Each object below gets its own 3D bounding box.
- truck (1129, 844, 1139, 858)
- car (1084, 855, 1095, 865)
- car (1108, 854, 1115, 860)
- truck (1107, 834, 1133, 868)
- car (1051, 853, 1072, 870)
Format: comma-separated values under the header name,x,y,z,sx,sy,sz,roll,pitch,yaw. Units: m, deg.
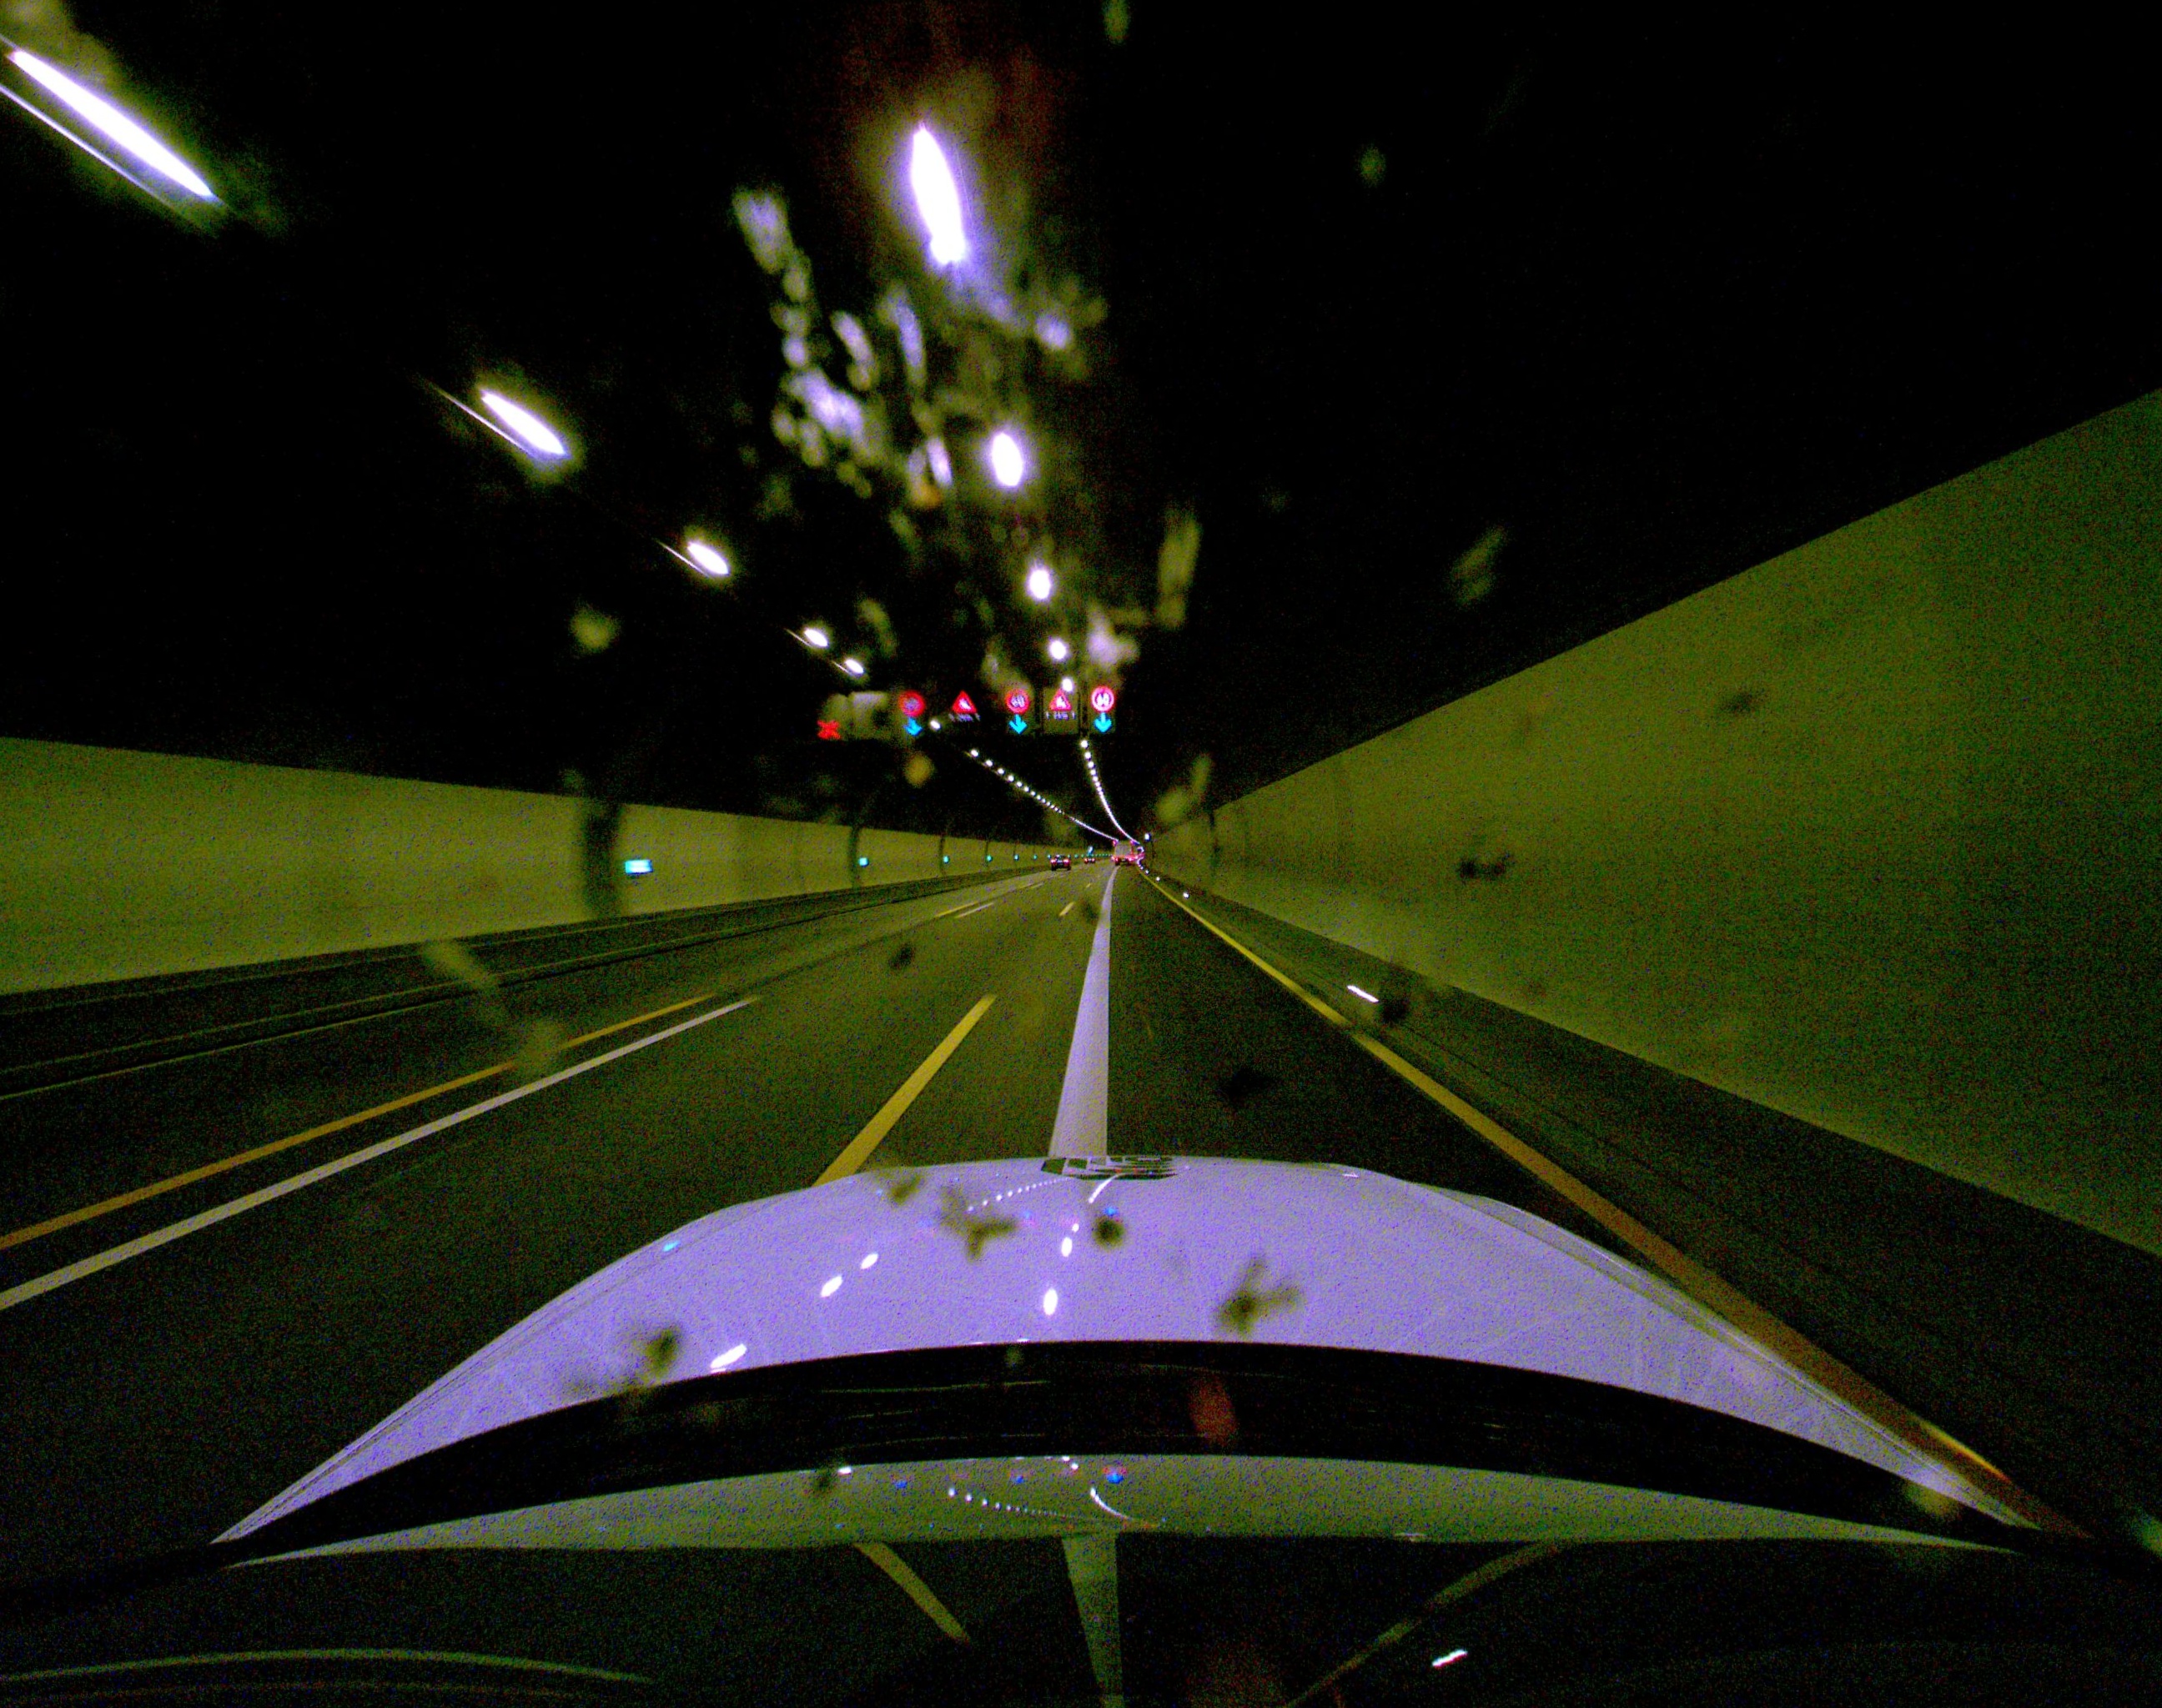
name,x,y,z,sx,sy,sz,roll,pitch,yaw
truck,16.125,-0.844,247.877,2.910,4.047,14.041,-3,0,3
car,1.493,1.055,138.946,1.806,1.520,4.001,-1,2,1
car,7.726,0.751,203.436,1.645,1.274,4.001,-1,2,1
truck,5.830,-0.404,123.690,3.267,4.650,17.290,-3,0,1
car,-1.978,0.716,82.397,1.805,1.618,4.002,-1,0,2
